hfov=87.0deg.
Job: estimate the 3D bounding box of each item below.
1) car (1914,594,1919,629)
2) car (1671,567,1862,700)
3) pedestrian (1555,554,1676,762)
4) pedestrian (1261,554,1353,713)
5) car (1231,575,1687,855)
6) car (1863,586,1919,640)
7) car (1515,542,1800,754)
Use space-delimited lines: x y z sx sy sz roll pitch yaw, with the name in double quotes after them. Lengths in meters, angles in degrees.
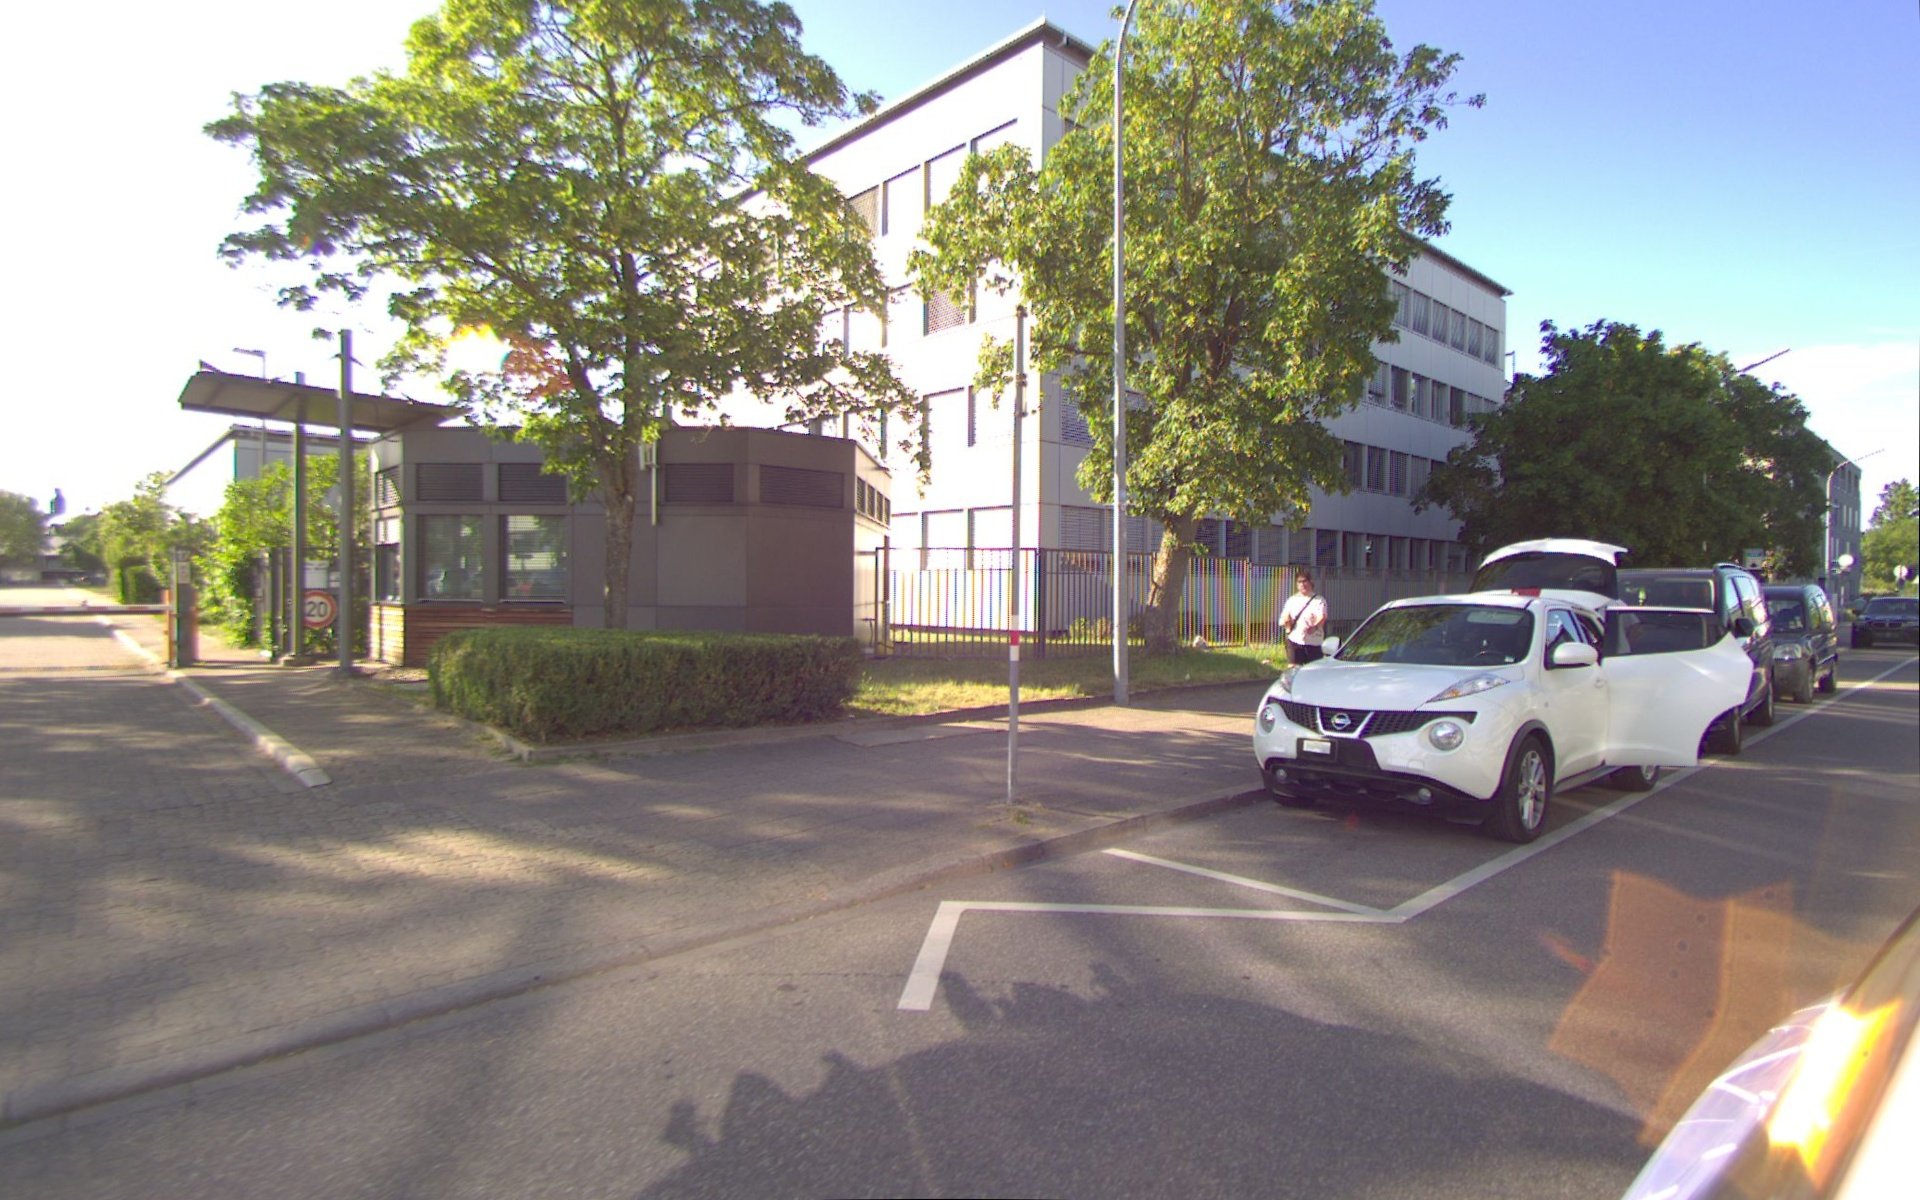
42.594 0.462 43.642 4.221 1.462 1.821 0 0 -43 "car"
12.735 0.456 15.883 4.221 1.817 1.704 0 -1 -43 "car"
5.838 0.491 9.021 0.690 1.768 0.591 0 -1 -24 "pedestrian"
4.020 0.359 11.722 0.762 1.750 0.692 0 2 -43 "pedestrian"
3.879 0.628 7.539 4.043 1.533 1.666 0 -1 -42 "car"
30.711 0.404 32.695 4.221 1.646 1.888 0 -1 -43 "car"
8.081 0.429 11.500 1.864 1.893 4.942 -1 -1 44 "car"
